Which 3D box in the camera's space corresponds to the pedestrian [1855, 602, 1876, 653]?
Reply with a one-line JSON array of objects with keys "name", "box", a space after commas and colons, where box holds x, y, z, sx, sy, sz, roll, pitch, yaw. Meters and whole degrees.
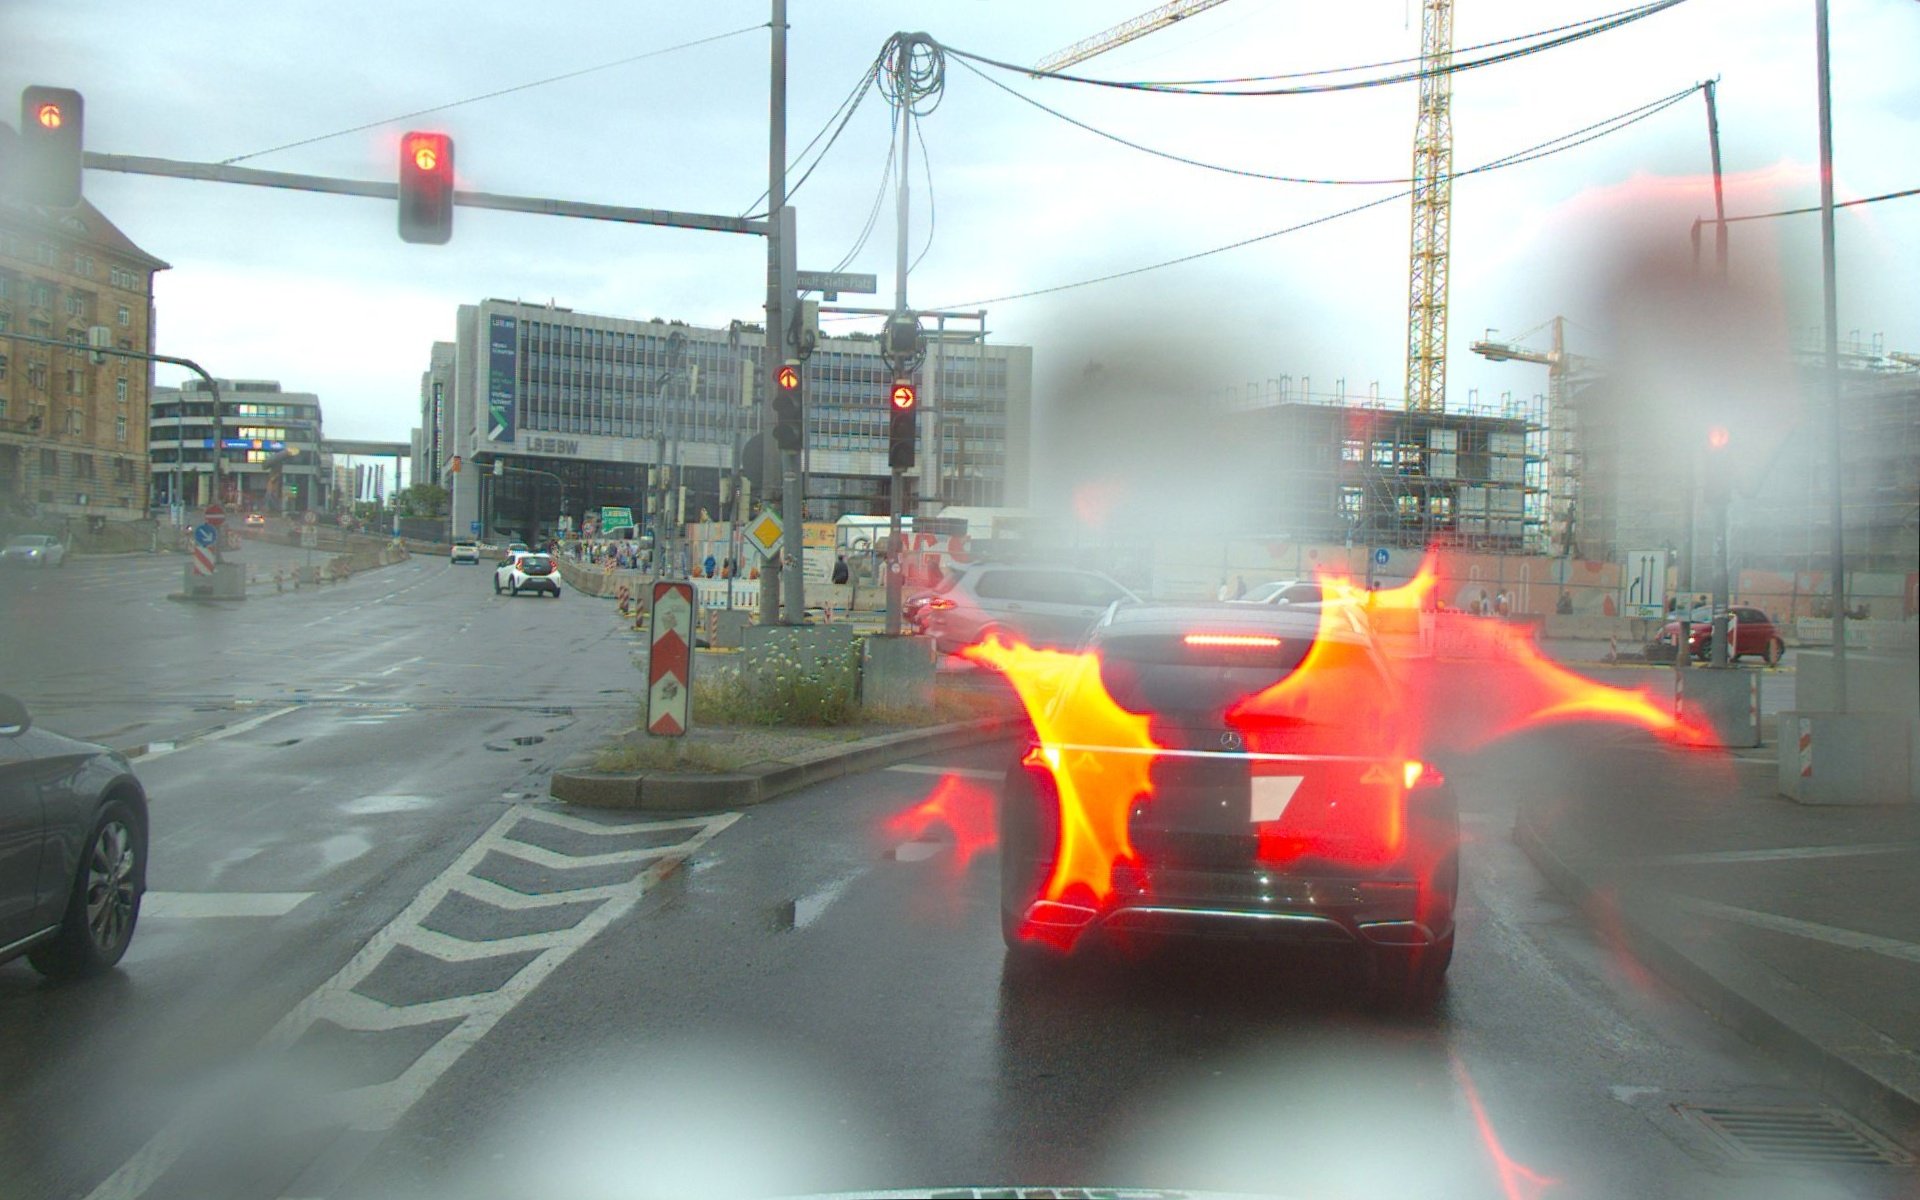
[{"name": "pedestrian", "box": [34.795, 1.061, 63.581, 0.564, 1.931, 0.361, 2, -1, -12]}]

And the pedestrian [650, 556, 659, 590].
[{"name": "pedestrian", "box": [-17.358, -1.524, 93.954, 0.355, 1.931, 0.573, 2, -1, -18]}]

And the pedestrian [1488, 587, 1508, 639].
[{"name": "pedestrian", "box": [20.128, 0.486, 61.860, 0.564, 1.931, 0.361, 2, -1, -12]}]

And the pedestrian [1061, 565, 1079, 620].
[{"name": "pedestrian", "box": [3.976, -0.264, 59.638, 0.563, 1.931, 0.362, 2, -1, 1]}]

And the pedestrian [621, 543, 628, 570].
[{"name": "pedestrian", "box": [-23.943, -3.114, 118.051, 0.355, 1.931, 0.573, 2, -1, -18]}]

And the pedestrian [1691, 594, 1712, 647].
[{"name": "pedestrian", "box": [27.554, 0.758, 61.441, 0.564, 1.931, 0.361, 2, -1, -12]}]

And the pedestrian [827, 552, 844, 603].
[{"name": "pedestrian", "box": [-4.758, -0.877, 63.340, 0.357, 1.931, 0.570, 3, -1, -31]}]

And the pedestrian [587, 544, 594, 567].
[{"name": "pedestrian", "box": [-31.677, -3.816, 141.833, 0.511, 1.931, 0.573, 2, -1, -18]}]

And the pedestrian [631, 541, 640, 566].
[{"name": "pedestrian", "box": [-24.772, -3.545, 126.213, 0.511, 1.931, 0.573, 2, -1, -18]}]

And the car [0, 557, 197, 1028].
[{"name": "car", "box": [-3.748, 0.595, 4.406, 1.749, 1.427, 4.480, 2, 1, -7]}]

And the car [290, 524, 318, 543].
[{"name": "car", "box": [-74.357, -7.516, 187.420, 1.978, 2.049, 3.948, 3, -1, -37]}]

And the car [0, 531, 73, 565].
[{"name": "car", "box": [-40.523, -2.262, 72.658, 1.737, 1.282, 3.986, 2, -1, -13]}]

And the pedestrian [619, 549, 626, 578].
[{"name": "pedestrian", "box": [-23.408, -2.521, 114.728, 0.355, 1.931, 0.574, 2, -1, -14]}]

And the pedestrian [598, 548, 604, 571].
[{"name": "pedestrian", "box": [-30.226, -3.388, 139.090, 0.355, 1.931, 0.573, 2, -1, -18]}]

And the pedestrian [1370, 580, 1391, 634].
[{"name": "pedestrian", "box": [15.263, 0.269, 60.053, 0.564, 1.931, 0.361, 2, -1, -12]}]

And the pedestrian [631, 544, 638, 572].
[{"name": "pedestrian", "box": [-22.298, -2.887, 113.382, 0.355, 1.931, 0.573, 2, -1, -18]}]

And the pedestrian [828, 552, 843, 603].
[{"name": "pedestrian", "box": [-4.767, -0.876, 63.398, 0.356, 1.931, 0.572, 2, -1, -22]}]

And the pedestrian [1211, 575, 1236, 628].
[{"name": "pedestrian", "box": [9.762, 0.059, 61.257, 0.645, 1.934, 0.629, 2, -1, -15]}]

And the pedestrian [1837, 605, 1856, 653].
[{"name": "pedestrian", "box": [36.347, 1.184, 67.846, 0.565, 1.931, 0.360, 2, -1, -17]}]

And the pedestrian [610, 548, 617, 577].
[{"name": "pedestrian", "box": [-23.516, -2.556, 112.243, 0.355, 1.931, 0.573, 2, -1, -18]}]

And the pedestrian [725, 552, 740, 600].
[{"name": "pedestrian", "box": [-9.326, -0.983, 67.841, 0.357, 1.931, 0.571, 3, -1, -27]}]

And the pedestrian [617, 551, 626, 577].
[{"name": "pedestrian", "box": [-25.124, -2.687, 122.888, 0.511, 1.931, 0.573, 2, -1, -18]}]

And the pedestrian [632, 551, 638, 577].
[{"name": "pedestrian", "box": [-24.331, -2.697, 123.838, 0.355, 1.931, 0.573, 2, -1, -18]}]

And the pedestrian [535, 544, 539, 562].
[{"name": "pedestrian", "box": [-46.747, -5.196, 182.698, 0.355, 1.931, 0.574, 2, -1, -15]}]

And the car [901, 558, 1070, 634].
[{"name": "car", "box": [0.638, -0.081, 42.863, 3.924, 1.764, 1.991, 2, -1, -17]}]

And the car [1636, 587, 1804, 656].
[{"name": "car", "box": [21.017, 0.594, 45.789, 3.925, 1.738, 1.990, 2, -1, -19]}]

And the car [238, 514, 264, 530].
[{"name": "car", "box": [-92.891, -10.187, 216.792, 1.982, 1.847, 3.940, 3, -1, -41]}]

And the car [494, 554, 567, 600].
[{"name": "car", "box": [-15.341, -0.809, 58.949, 1.759, 1.499, 3.528, 3, -1, -27]}]

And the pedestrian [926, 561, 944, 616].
[{"name": "pedestrian", "box": [-0.886, -0.414, 58.776, 0.563, 1.931, 0.362, 2, -1, 0]}]

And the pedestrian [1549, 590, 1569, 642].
[{"name": "pedestrian", "box": [22.584, 0.587, 62.385, 0.564, 1.931, 0.361, 2, -1, -12]}]

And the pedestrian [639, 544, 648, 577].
[{"name": "pedestrian", "box": [-19.091, -2.389, 99.812, 0.355, 1.931, 0.573, 2, -1, -18]}]

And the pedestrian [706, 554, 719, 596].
[{"name": "pedestrian", "box": [-11.391, -1.140, 76.106, 0.356, 1.931, 0.572, 2, -1, -22]}]

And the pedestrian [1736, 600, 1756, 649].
[{"name": "pedestrian", "box": [31.517, 0.971, 66.309, 0.564, 1.931, 0.361, 2, -1, -12]}]

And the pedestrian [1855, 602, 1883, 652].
[{"name": "pedestrian", "box": [36.180, 1.068, 65.825, 0.784, 1.931, 0.564, 2, -1, -16]}]

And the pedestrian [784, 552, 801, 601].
[{"name": "pedestrian", "box": [-6.571, -0.926, 64.964, 0.358, 1.931, 0.569, 3, -1, -35]}]

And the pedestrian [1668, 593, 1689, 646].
[{"name": "pedestrian", "box": [26.808, 0.733, 61.726, 0.564, 1.931, 0.361, 2, -1, -12]}]

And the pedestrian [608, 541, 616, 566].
[{"name": "pedestrian", "box": [-27.801, -3.724, 132.133, 0.511, 1.931, 0.573, 2, -1, -18]}]

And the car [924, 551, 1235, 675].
[{"name": "car", "box": [1.937, 0.221, 27.869, 4.984, 1.829, 1.999, 2, -1, -3]}]

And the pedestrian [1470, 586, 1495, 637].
[{"name": "pedestrian", "box": [20.250, 0.441, 64.137, 0.645, 1.934, 0.629, 2, -1, -15]}]

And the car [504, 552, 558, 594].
[{"name": "car", "box": [-20.129, -1.237, 77.475, 1.964, 1.797, 4.392, 2, -1, -20]}]

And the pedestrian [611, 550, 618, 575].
[{"name": "pedestrian", "box": [-26.999, -2.900, 129.195, 0.355, 1.931, 0.573, 2, -1, -18]}]

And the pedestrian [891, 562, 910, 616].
[{"name": "pedestrian", "box": [-2.165, -0.393, 60.246, 0.562, 1.931, 0.362, 2, -1, 13]}]

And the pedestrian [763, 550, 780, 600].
[{"name": "pedestrian", "box": [-7.357, -0.961, 64.566, 0.357, 1.931, 0.570, 3, -1, -32]}]

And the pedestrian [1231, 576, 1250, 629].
[{"name": "pedestrian", "box": [10.266, 0.094, 60.513, 0.564, 1.931, 0.361, 2, -1, -12]}]

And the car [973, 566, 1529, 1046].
[{"name": "car", "box": [1.151, 0.732, 7.707, 1.851, 1.571, 3.995, 2, -1, 4]}]

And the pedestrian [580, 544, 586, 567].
[{"name": "pedestrian", "box": [-32.294, -3.843, 141.541, 0.355, 1.931, 0.573, 2, -1, -18]}]

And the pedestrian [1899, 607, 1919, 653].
[{"name": "pedestrian", "box": [39.883, 1.255, 69.344, 0.620, 1.931, 0.588, 2, -1, -15]}]

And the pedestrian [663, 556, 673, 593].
[{"name": "pedestrian", "box": [-15.254, -1.338, 86.296, 0.355, 1.931, 0.573, 2, -1, -18]}]

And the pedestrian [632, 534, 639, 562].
[{"name": "pedestrian", "box": [-22.616, -3.600, 115.160, 0.355, 1.931, 0.573, 2, -1, -18]}]

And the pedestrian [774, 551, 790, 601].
[{"name": "pedestrian", "box": [-6.969, -0.941, 64.759, 0.358, 1.931, 0.570, 2, -1, -34]}]

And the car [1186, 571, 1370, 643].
[{"name": "car", "box": [7.803, 0.193, 40.694, 3.981, 1.579, 1.988, 2, -1, -20]}]

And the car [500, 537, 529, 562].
[{"name": "car", "box": [-34.312, -3.909, 127.419, 1.704, 1.668, 3.412, 2, 3, -23]}]

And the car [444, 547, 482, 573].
[{"name": "car", "box": [-35.207, -2.833, 117.051, 1.968, 1.668, 3.968, 3, -1, -25]}]
